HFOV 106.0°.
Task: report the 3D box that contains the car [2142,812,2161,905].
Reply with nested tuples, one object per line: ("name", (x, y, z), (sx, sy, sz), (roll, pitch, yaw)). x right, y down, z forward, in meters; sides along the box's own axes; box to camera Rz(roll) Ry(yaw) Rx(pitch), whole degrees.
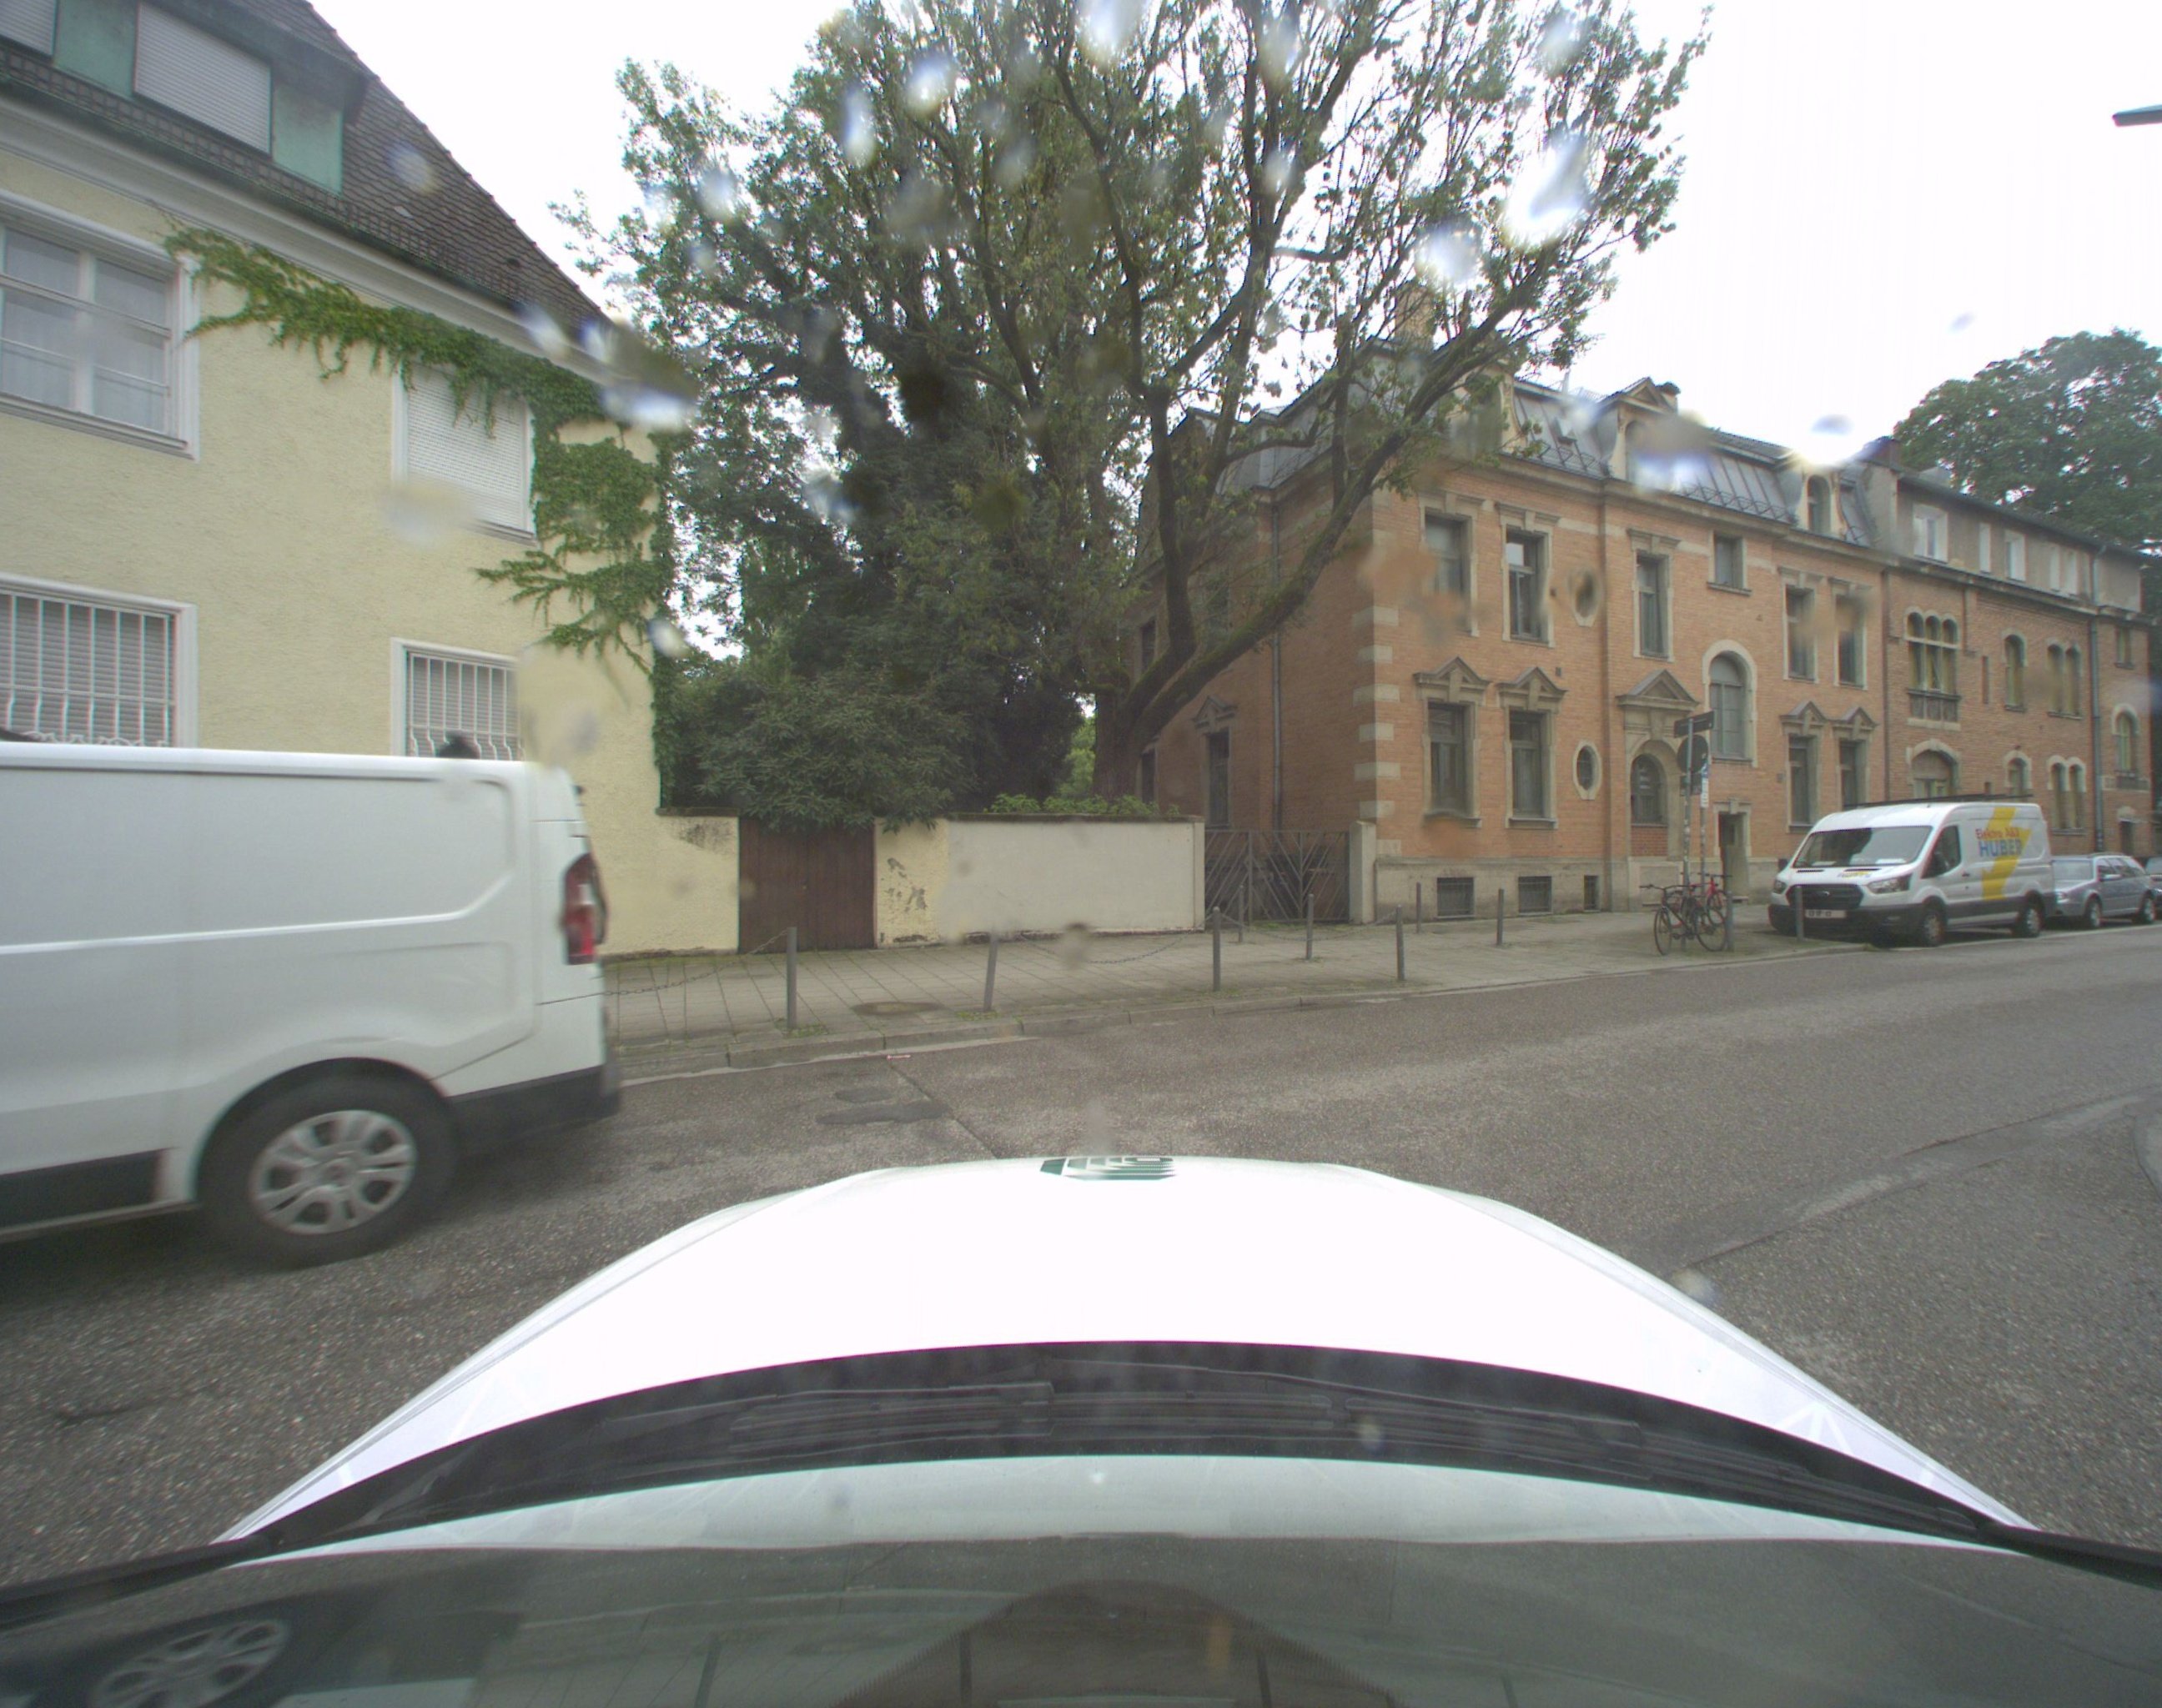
("car", (30.017, 0.097, 20.834), (5.373, 2.349, 2.128), (0, -1, -22))

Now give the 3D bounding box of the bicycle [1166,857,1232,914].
("bicycle", (2.670, 0.695, 18.628), (0.536, 1.219, 2.067), (0, -1, -22))

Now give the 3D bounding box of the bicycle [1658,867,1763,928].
("bicycle", (11.513, 0.768, 14.893), (1.894, 1.054, 0.578), (0, 0, -18))

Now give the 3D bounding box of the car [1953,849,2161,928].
("car", (20.140, 0.678, 16.718), (3.999, 1.455, 1.682), (0, -3, -22))

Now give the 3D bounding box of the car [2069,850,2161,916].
("car", (24.974, 0.650, 18.760), (3.832, 1.432, 1.691), (0, -2, -21))

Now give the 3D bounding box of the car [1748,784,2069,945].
("car", (14.698, 0.199, 14.457), (5.475, 2.468, 1.984), (0, -3, -22))

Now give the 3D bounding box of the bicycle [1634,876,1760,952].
("bicycle", (9.109, 0.862, 12.045), (1.762, 1.054, 0.578), (0, -1, -18))

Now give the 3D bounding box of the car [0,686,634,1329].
("car", (-4.579, 0.518, 3.079), (4.975, 2.041, 2.026), (0, -2, -32))
